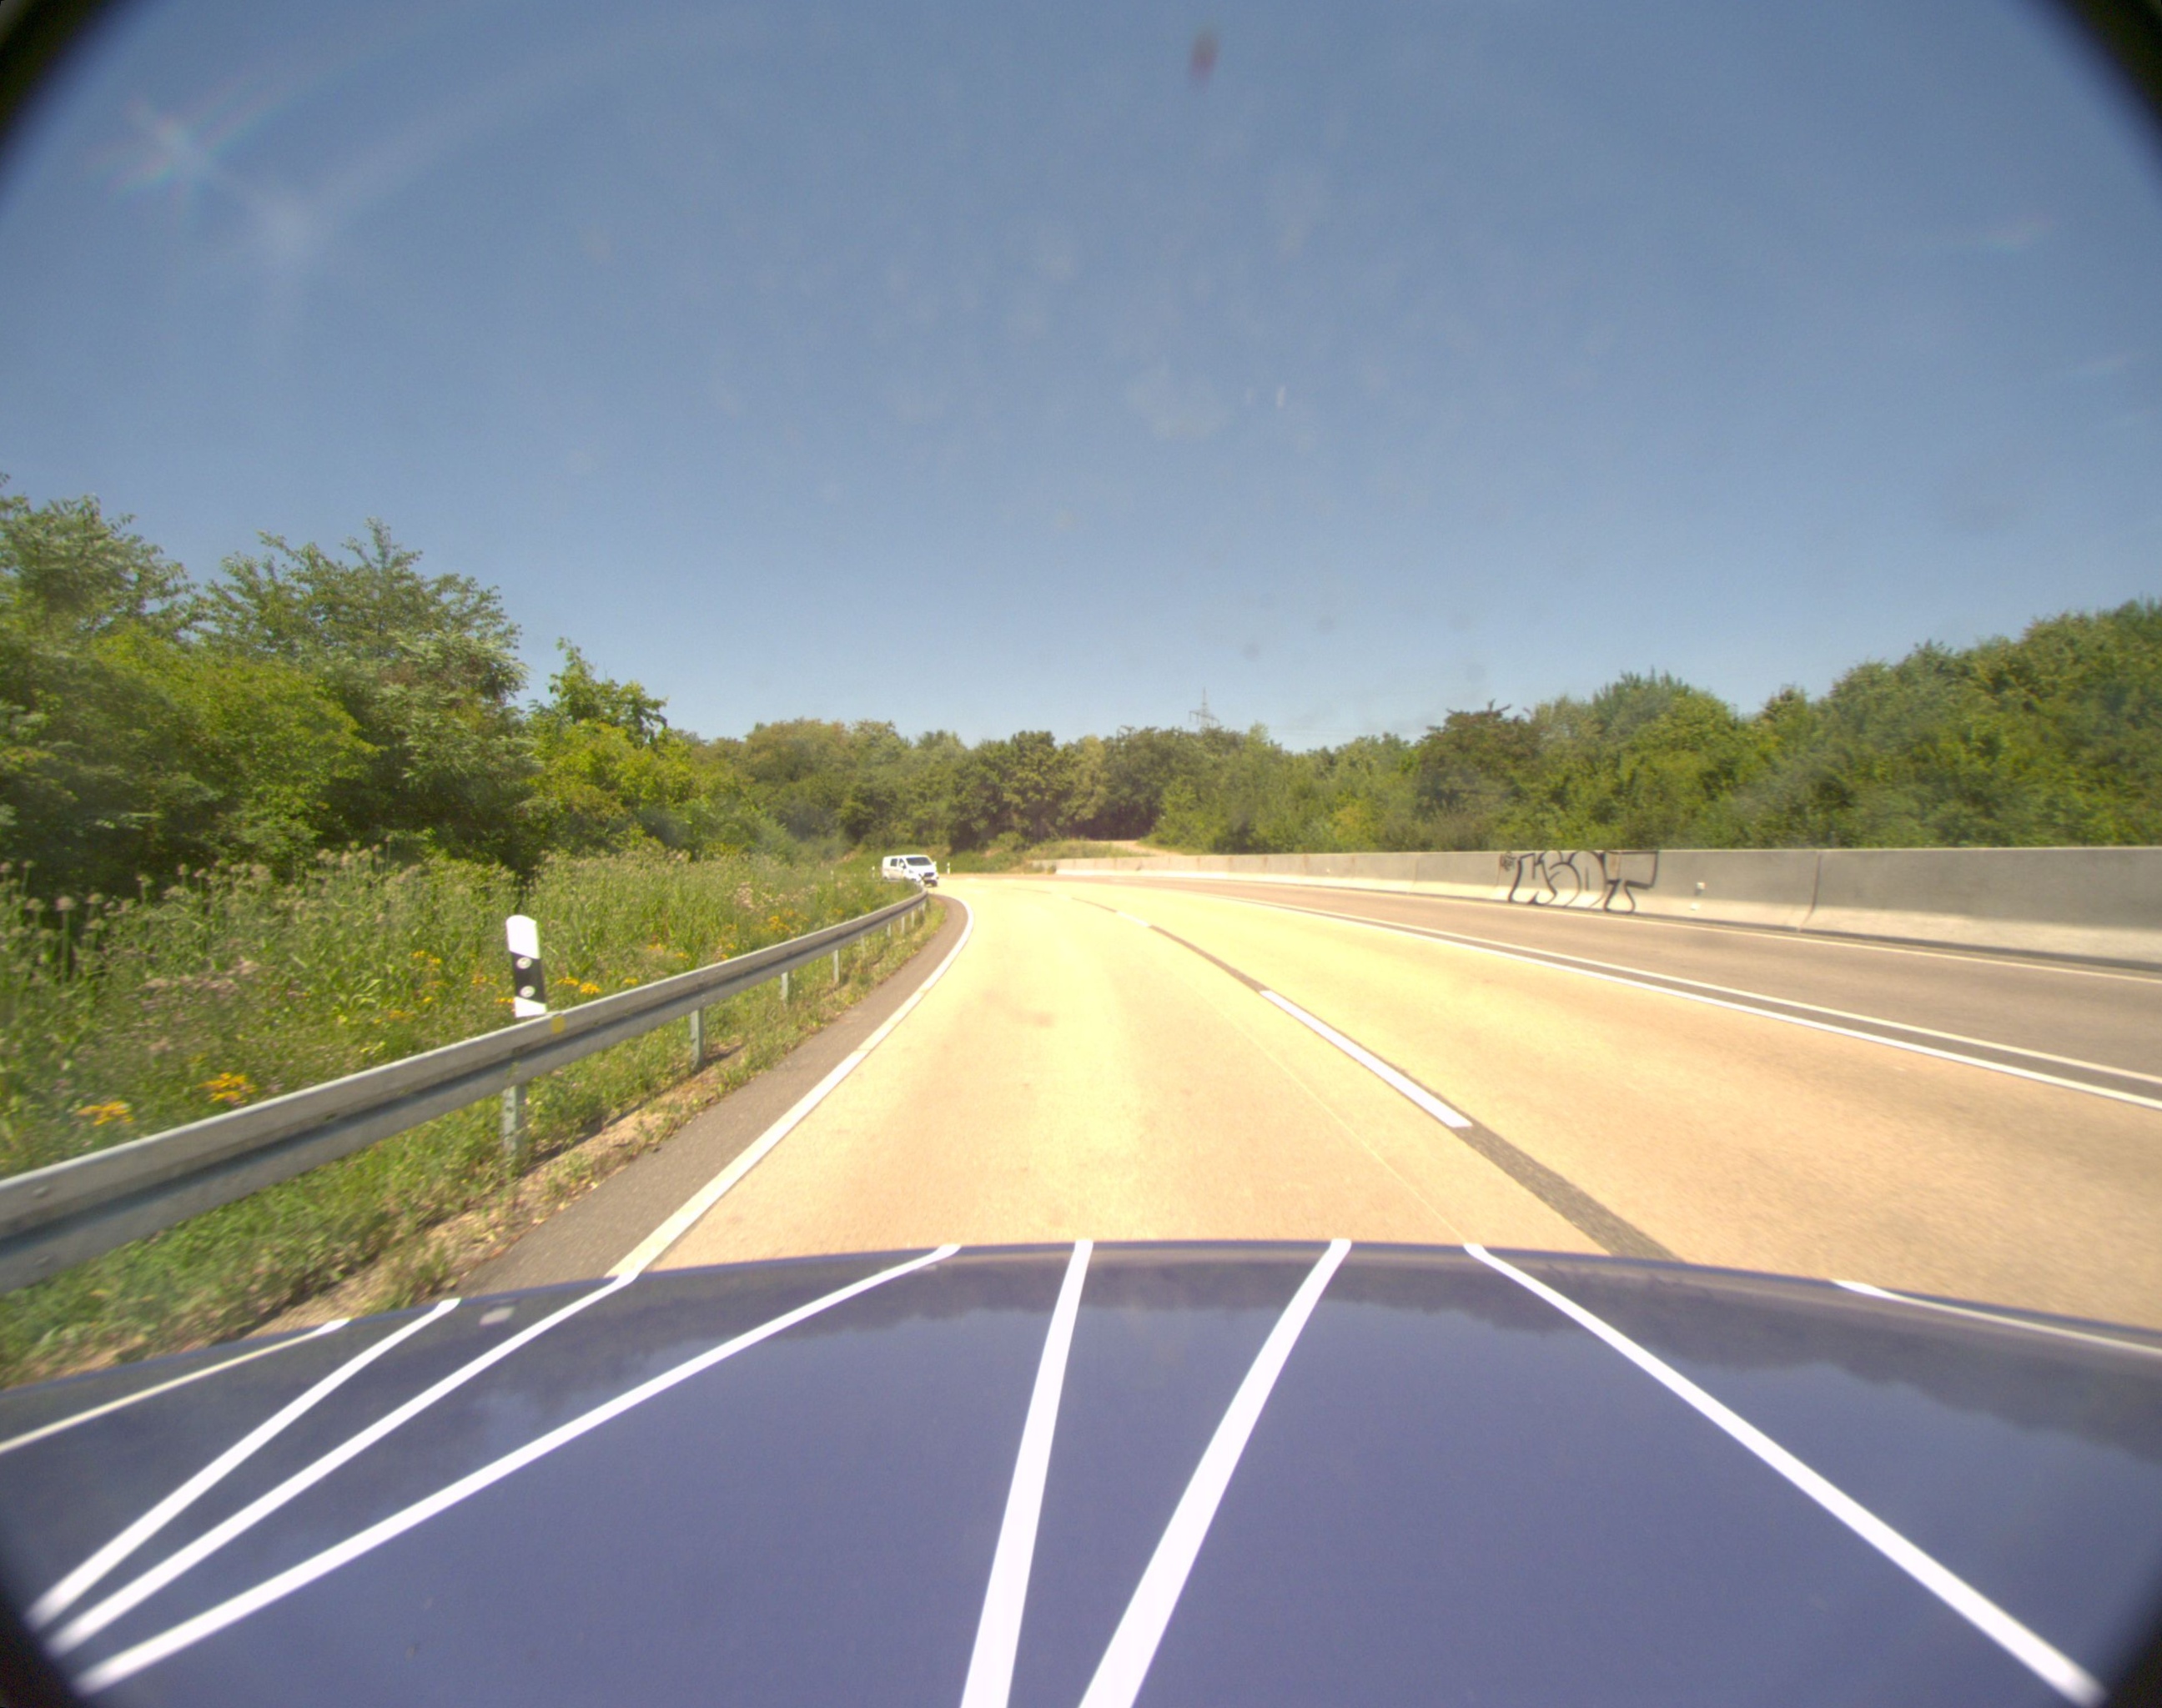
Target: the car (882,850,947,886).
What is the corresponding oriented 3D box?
[{"bbox_3d":[-10.377,0.864,47.074,2.067,2.002,5.028,-3,1,-35],"label":"car"}]
